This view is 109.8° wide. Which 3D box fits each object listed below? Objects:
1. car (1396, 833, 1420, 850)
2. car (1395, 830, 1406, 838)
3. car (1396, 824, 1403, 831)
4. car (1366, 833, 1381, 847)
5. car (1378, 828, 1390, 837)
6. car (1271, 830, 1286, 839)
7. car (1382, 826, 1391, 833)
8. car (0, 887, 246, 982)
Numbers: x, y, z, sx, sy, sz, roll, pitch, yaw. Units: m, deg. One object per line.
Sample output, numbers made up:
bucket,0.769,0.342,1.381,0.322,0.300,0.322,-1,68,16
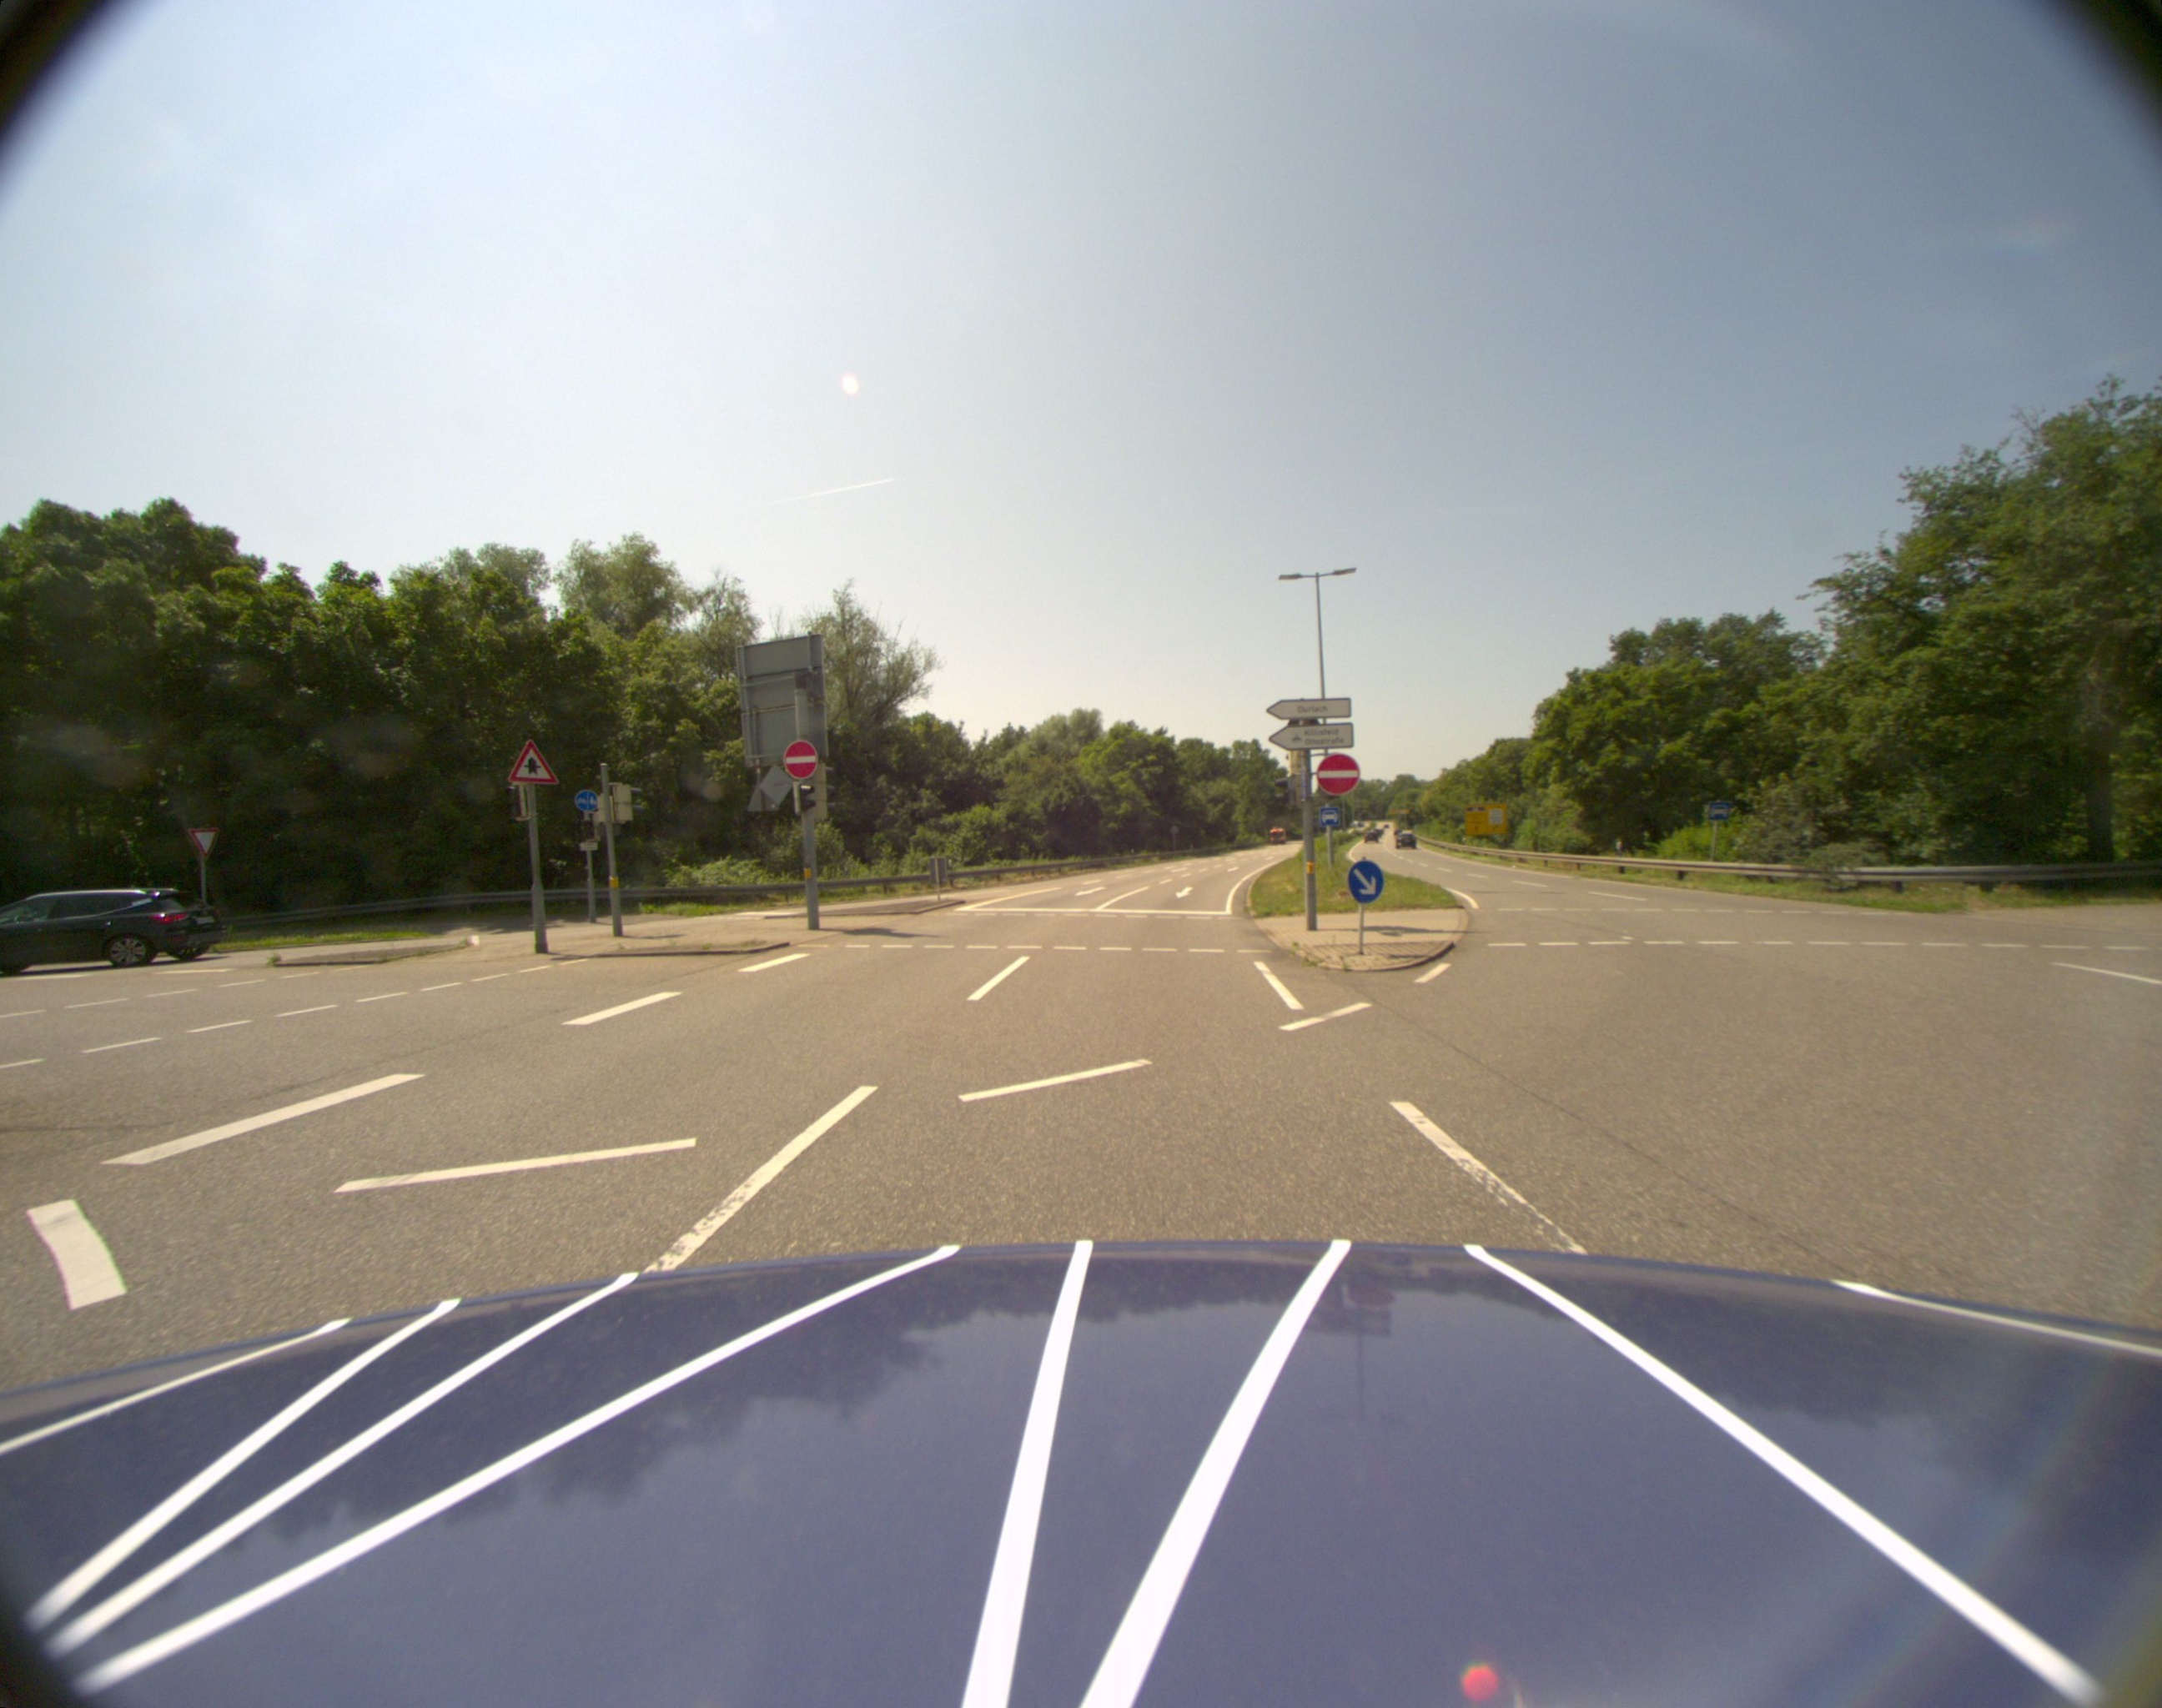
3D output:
car,32.751,-1.300,76.172,1.709,1.617,4.004,-2,1,16
car,64.589,-4.037,153.629,1.764,1.474,3.588,-2,1,26
car,97.055,-8.070,231.641,1.995,2.002,4.006,-2,1,23
car,39.675,-1.908,103.055,1.736,1.679,3.828,-2,1,19
car,53.163,-3.720,133.403,1.778,1.494,3.584,-2,1,21
car,31.949,-3.110,122.901,1.843,1.422,3.583,-2,1,23
car,68.188,-5.471,169.509,1.585,1.477,3.555,-2,1,23
car,-19.551,1.557,14.857,4.004,1.543,1.545,-3,1,-23
